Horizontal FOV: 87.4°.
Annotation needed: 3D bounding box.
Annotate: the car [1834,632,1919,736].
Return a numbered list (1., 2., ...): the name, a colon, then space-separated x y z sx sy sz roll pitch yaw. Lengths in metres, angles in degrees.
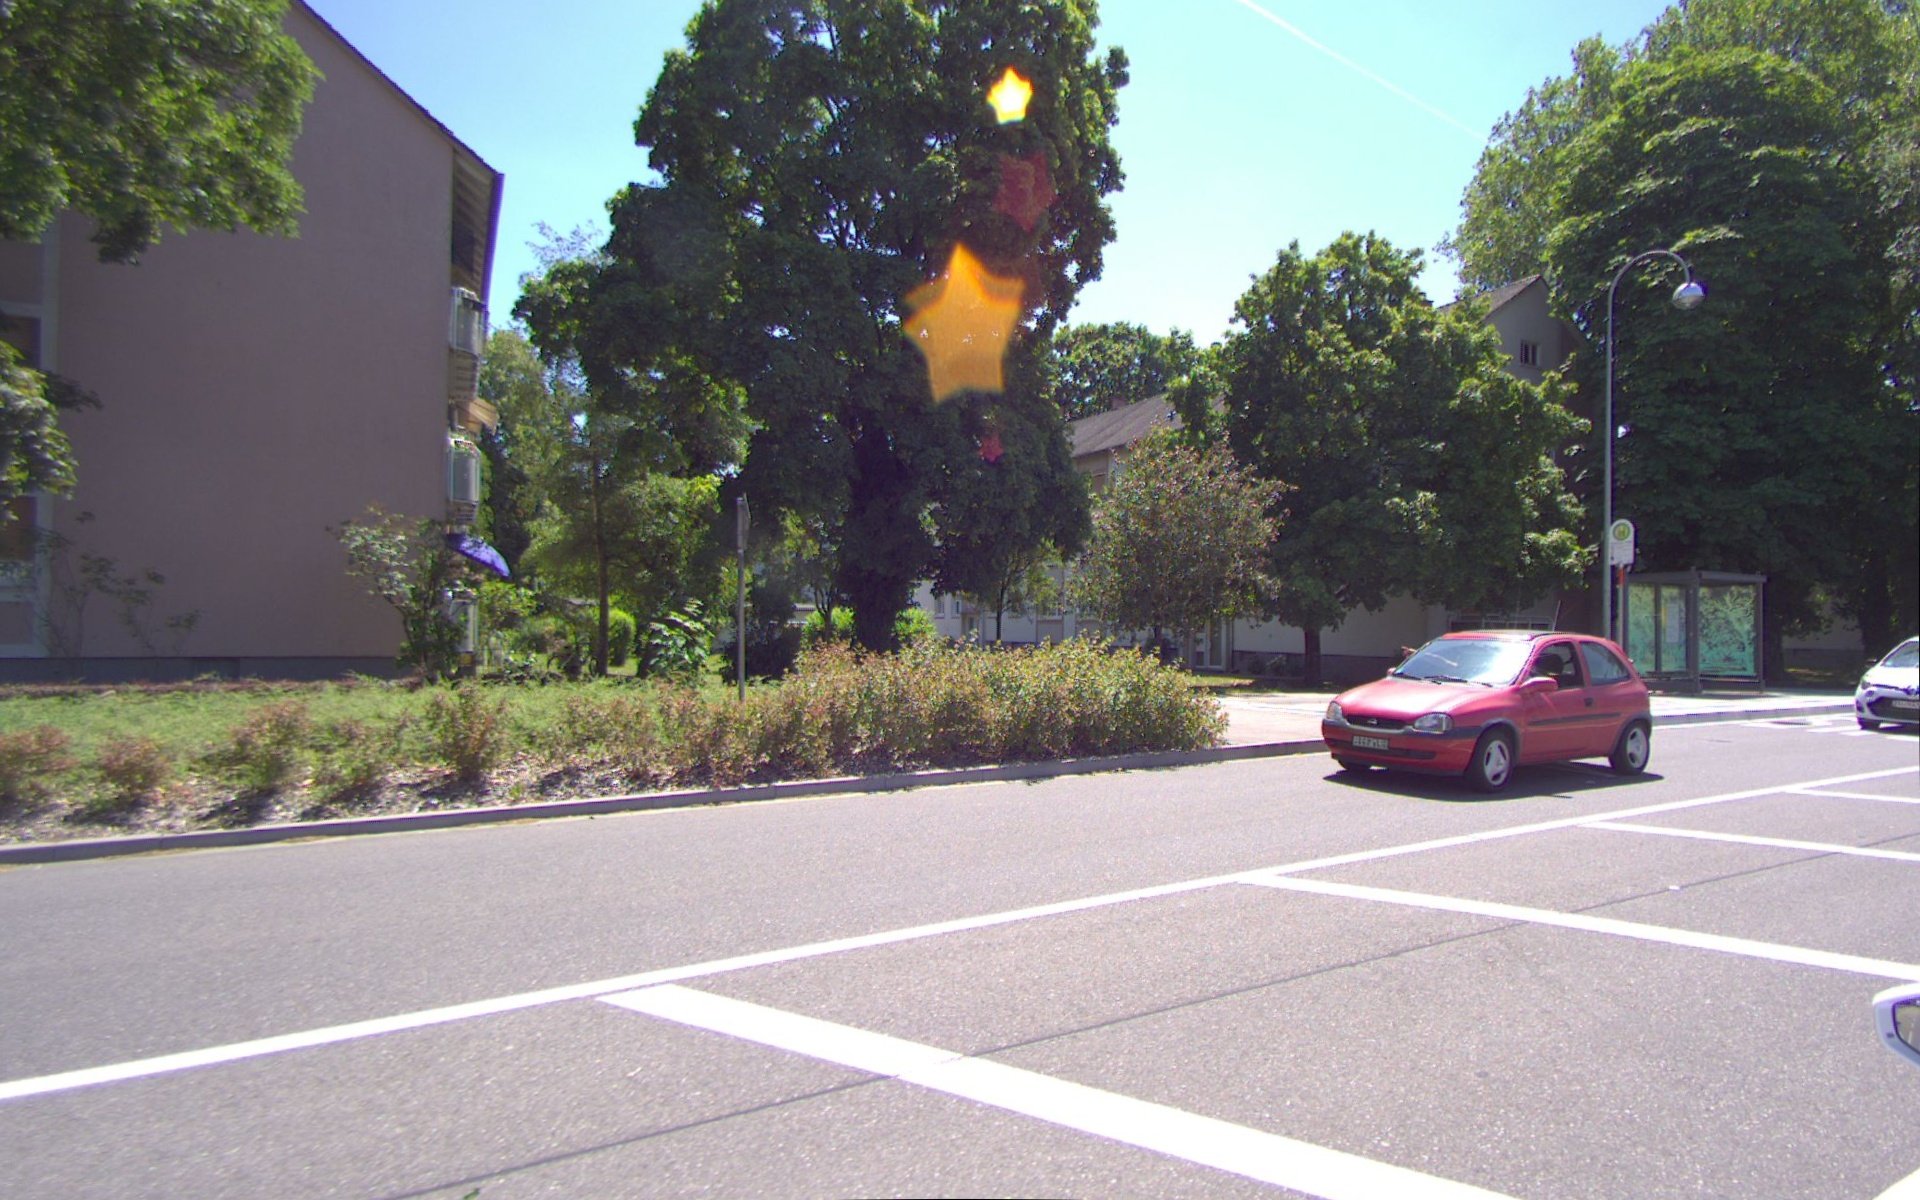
1. car: 15.537 1.269 15.746 3.596 1.479 1.683 1 0 -30

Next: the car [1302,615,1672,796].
1. car: 5.262 0.937 9.932 3.648 1.469 1.543 2 0 -31
